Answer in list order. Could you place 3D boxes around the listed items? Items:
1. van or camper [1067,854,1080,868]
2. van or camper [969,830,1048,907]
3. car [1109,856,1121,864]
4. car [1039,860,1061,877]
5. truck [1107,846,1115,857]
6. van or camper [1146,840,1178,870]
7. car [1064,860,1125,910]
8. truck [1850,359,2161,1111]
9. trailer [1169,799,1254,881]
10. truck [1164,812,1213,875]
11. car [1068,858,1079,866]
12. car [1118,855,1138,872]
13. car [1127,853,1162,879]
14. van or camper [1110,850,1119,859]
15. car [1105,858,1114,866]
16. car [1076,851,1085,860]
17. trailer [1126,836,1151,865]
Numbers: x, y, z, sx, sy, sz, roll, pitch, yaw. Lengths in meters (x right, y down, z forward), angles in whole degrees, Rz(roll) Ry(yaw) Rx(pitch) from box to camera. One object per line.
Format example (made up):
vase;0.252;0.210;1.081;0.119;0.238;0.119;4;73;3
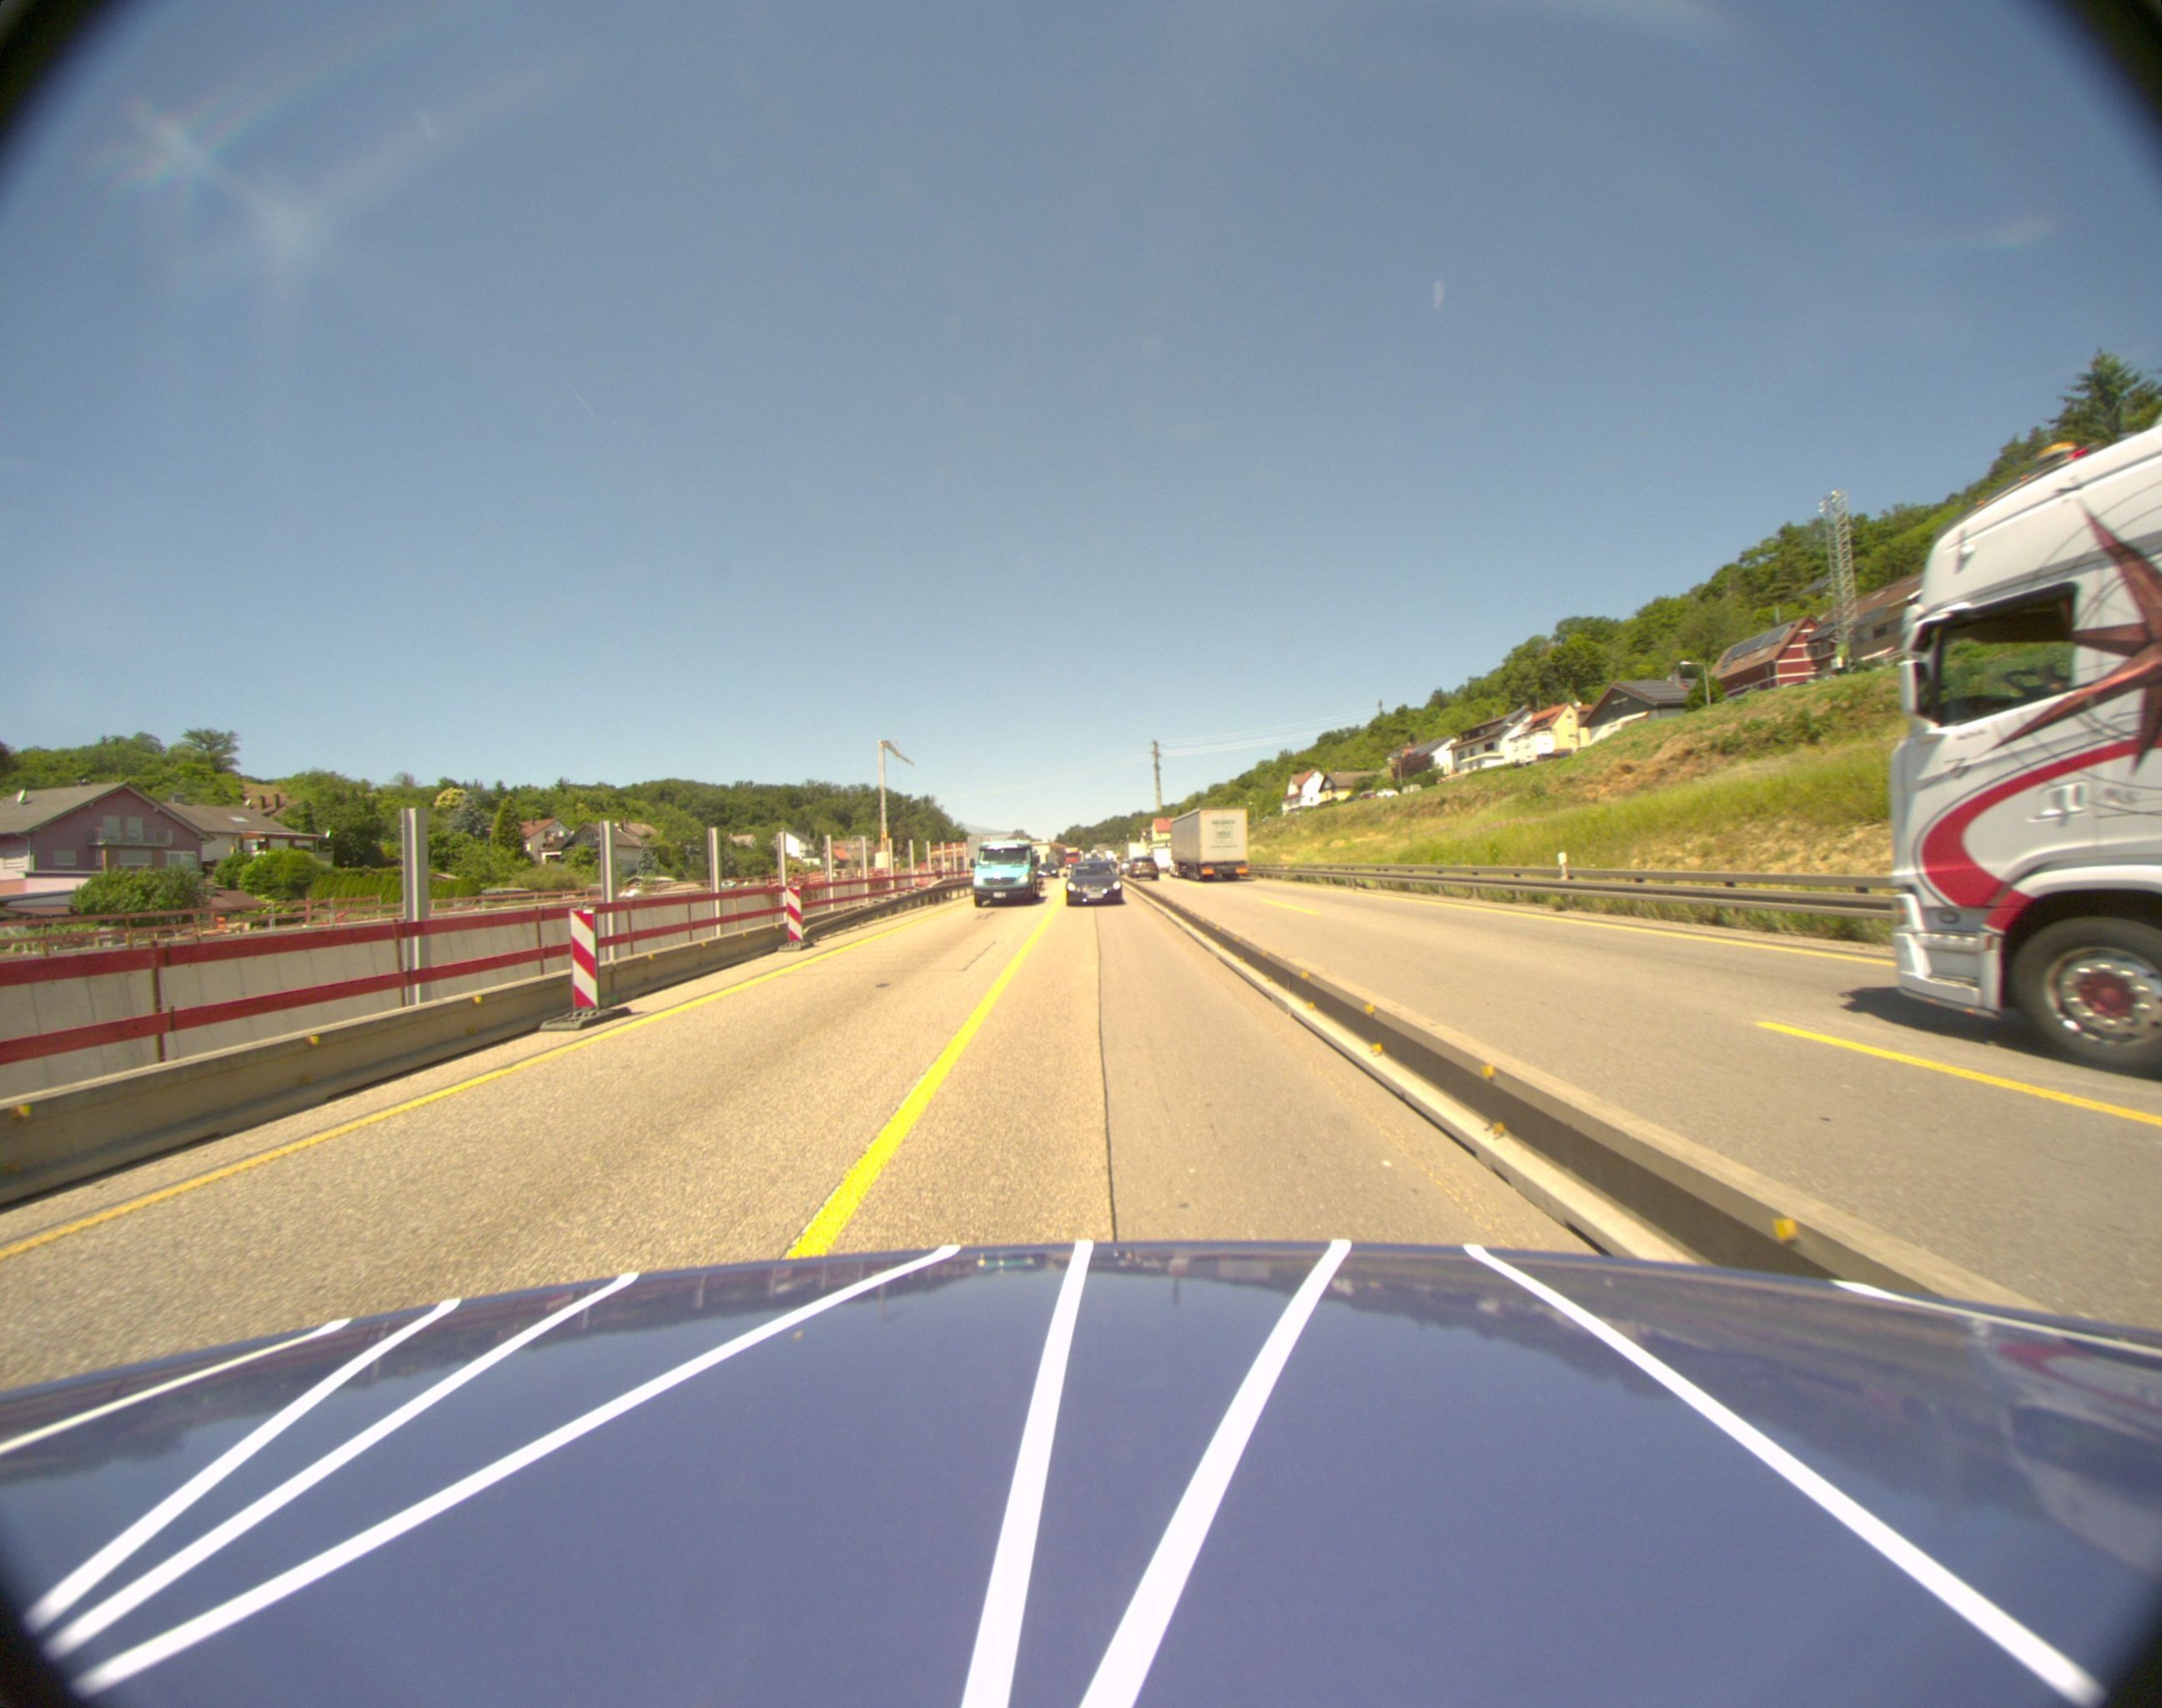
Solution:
van or camper;-1.512;1.428;154.599;2.321;2.513;4.528;-4;0;1
van or camper;-2.546;0.493;28.904;2.097;2.458;7.671;-2;0;1
car;5.763;1.014;128.343;1.772;1.355;4.411;-2;0;0
car;-2.670;1.269;65.992;1.611;1.324;3.496;-4;0;1
truck;10.476;-0.784;265.705;2.386;3.411;9.306;0;-1;-1
van or camper;8.009;0.085;76.133;2.340;2.761;7.517;-2;0;0
car;0.432;0.937;24.652;1.746;1.420;4.000;-2;0;1
truck;7.585;-0.683;3.737;3.247;4.136;4.247;-2;0;0
trailer;7.752;-0.732;47.423;2.817;4.261;14.034;-2;0;0
truck;7.778;-0.739;55.559;2.781;4.261;4.676;-2;0;0
car;-1.338;1.387;137.502;1.679;1.346;3.487;-4;0;1
car;4.363;0.896;71.329;1.633;1.470;3.380;-2;0;0
car;4.109;0.759;49.697;1.853;1.577;4.174;-2;0;0
van or camper;10.072;0.265;228.590;2.382;2.634;6.052;-2;0;1
car;5.570;1.504;148.850;1.758;1.499;4.000;-4;0;1
car;-0.177;0.289;160.451;1.744;1.679;3.640;-2;0;1
trailer;8.888;-0.502;119.047;2.864;4.100;13.437;-2;0;0
